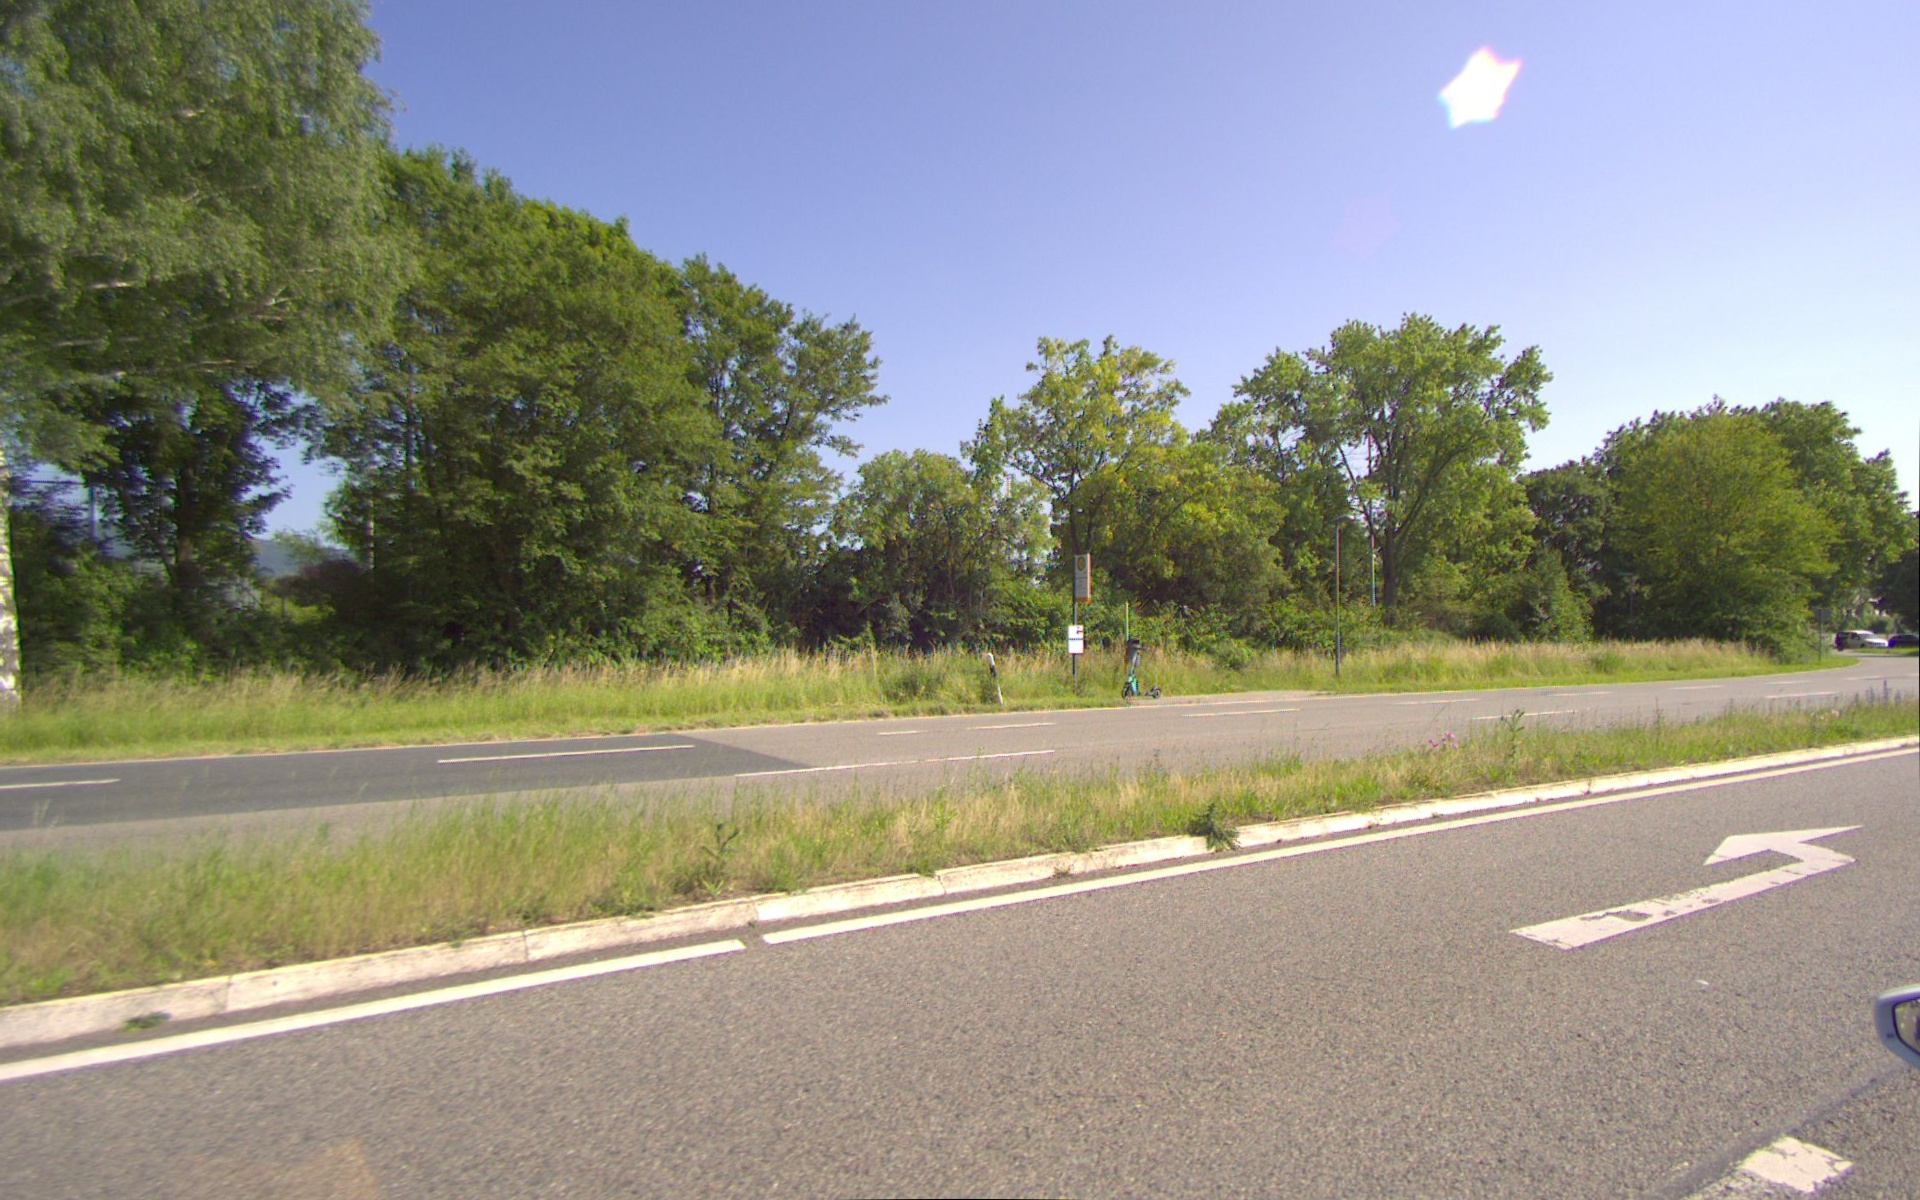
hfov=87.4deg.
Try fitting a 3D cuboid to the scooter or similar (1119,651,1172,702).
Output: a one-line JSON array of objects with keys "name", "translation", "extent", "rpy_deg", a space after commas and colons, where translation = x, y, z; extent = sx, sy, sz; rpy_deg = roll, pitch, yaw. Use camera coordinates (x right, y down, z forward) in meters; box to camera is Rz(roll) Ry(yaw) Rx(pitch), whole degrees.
[{"name": "scooter or similar", "translation": [4.467, 1.827, 24.133], "extent": [1.325, 1.201, 0.366], "rpy_deg": [1, -3, -31]}]

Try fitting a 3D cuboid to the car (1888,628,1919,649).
[{"name": "car", "translation": [77.565, 3.092, 80.859], "extent": [1.964, 1.627, 4.271], "rpy_deg": [-1, -2, 5]}]

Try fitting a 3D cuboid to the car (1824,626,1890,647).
[{"name": "car", "translation": [78.237, 3.192, 87.710], "extent": [1.964, 1.824, 4.510], "rpy_deg": [-1, -2, 5]}]

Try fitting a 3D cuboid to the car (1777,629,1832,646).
[{"name": "car", "translation": [78.798, 3.488, 93.818], "extent": [1.881, 1.532, 4.129], "rpy_deg": [-1, -2, 5]}]
